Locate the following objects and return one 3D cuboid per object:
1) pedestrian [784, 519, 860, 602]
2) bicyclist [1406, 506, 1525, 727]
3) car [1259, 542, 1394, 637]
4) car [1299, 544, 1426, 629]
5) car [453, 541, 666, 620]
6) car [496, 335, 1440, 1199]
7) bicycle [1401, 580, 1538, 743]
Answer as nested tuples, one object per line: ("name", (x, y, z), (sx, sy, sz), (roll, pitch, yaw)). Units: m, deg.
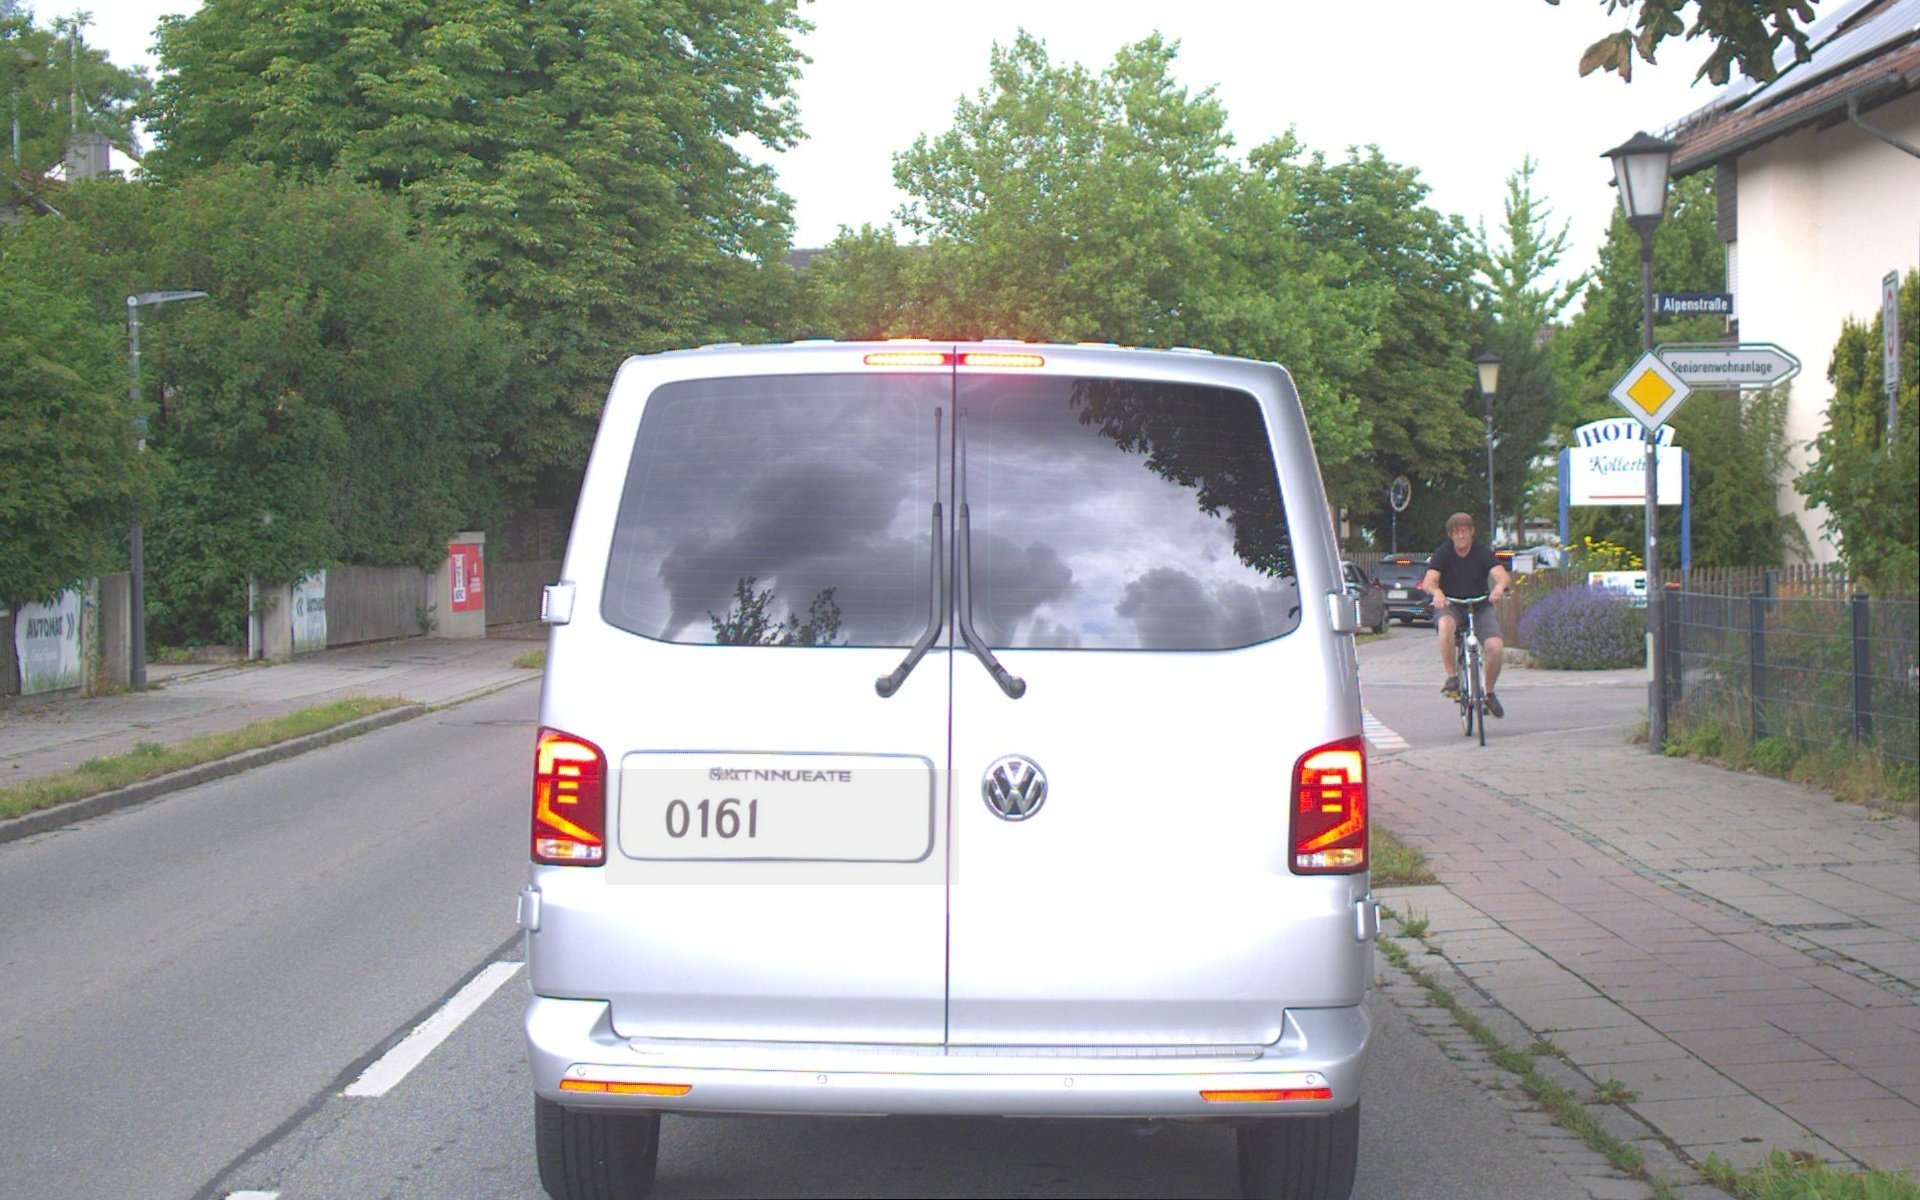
("pedestrian", (-3.032, -0.877, 75.550), (1.068, 1.796, 1.320), (1, 1, 40))
("bicyclist", (3.843, 0.114, 26.183), (0.736, 1.627, 0.890), (-2, 1, 1))
("car", (6.212, -0.201, 57.942), (1.882, 1.530, 3.919), (0, 1, 12))
("car", (7.519, -0.275, 63.949), (1.882, 1.530, 3.918), (0, 1, 14))
("car", (-7.678, -0.375, 65.758), (3.986, 1.481, 2.001), (0, 1, -8))
("car", (0.035, 0.410, 8.839), (1.881, 1.934, 3.921), (0, 1, 1))
("bicycle", (3.862, 0.448, 26.195), (0.764, 1.139, 1.845), (-3, 1, 1))
